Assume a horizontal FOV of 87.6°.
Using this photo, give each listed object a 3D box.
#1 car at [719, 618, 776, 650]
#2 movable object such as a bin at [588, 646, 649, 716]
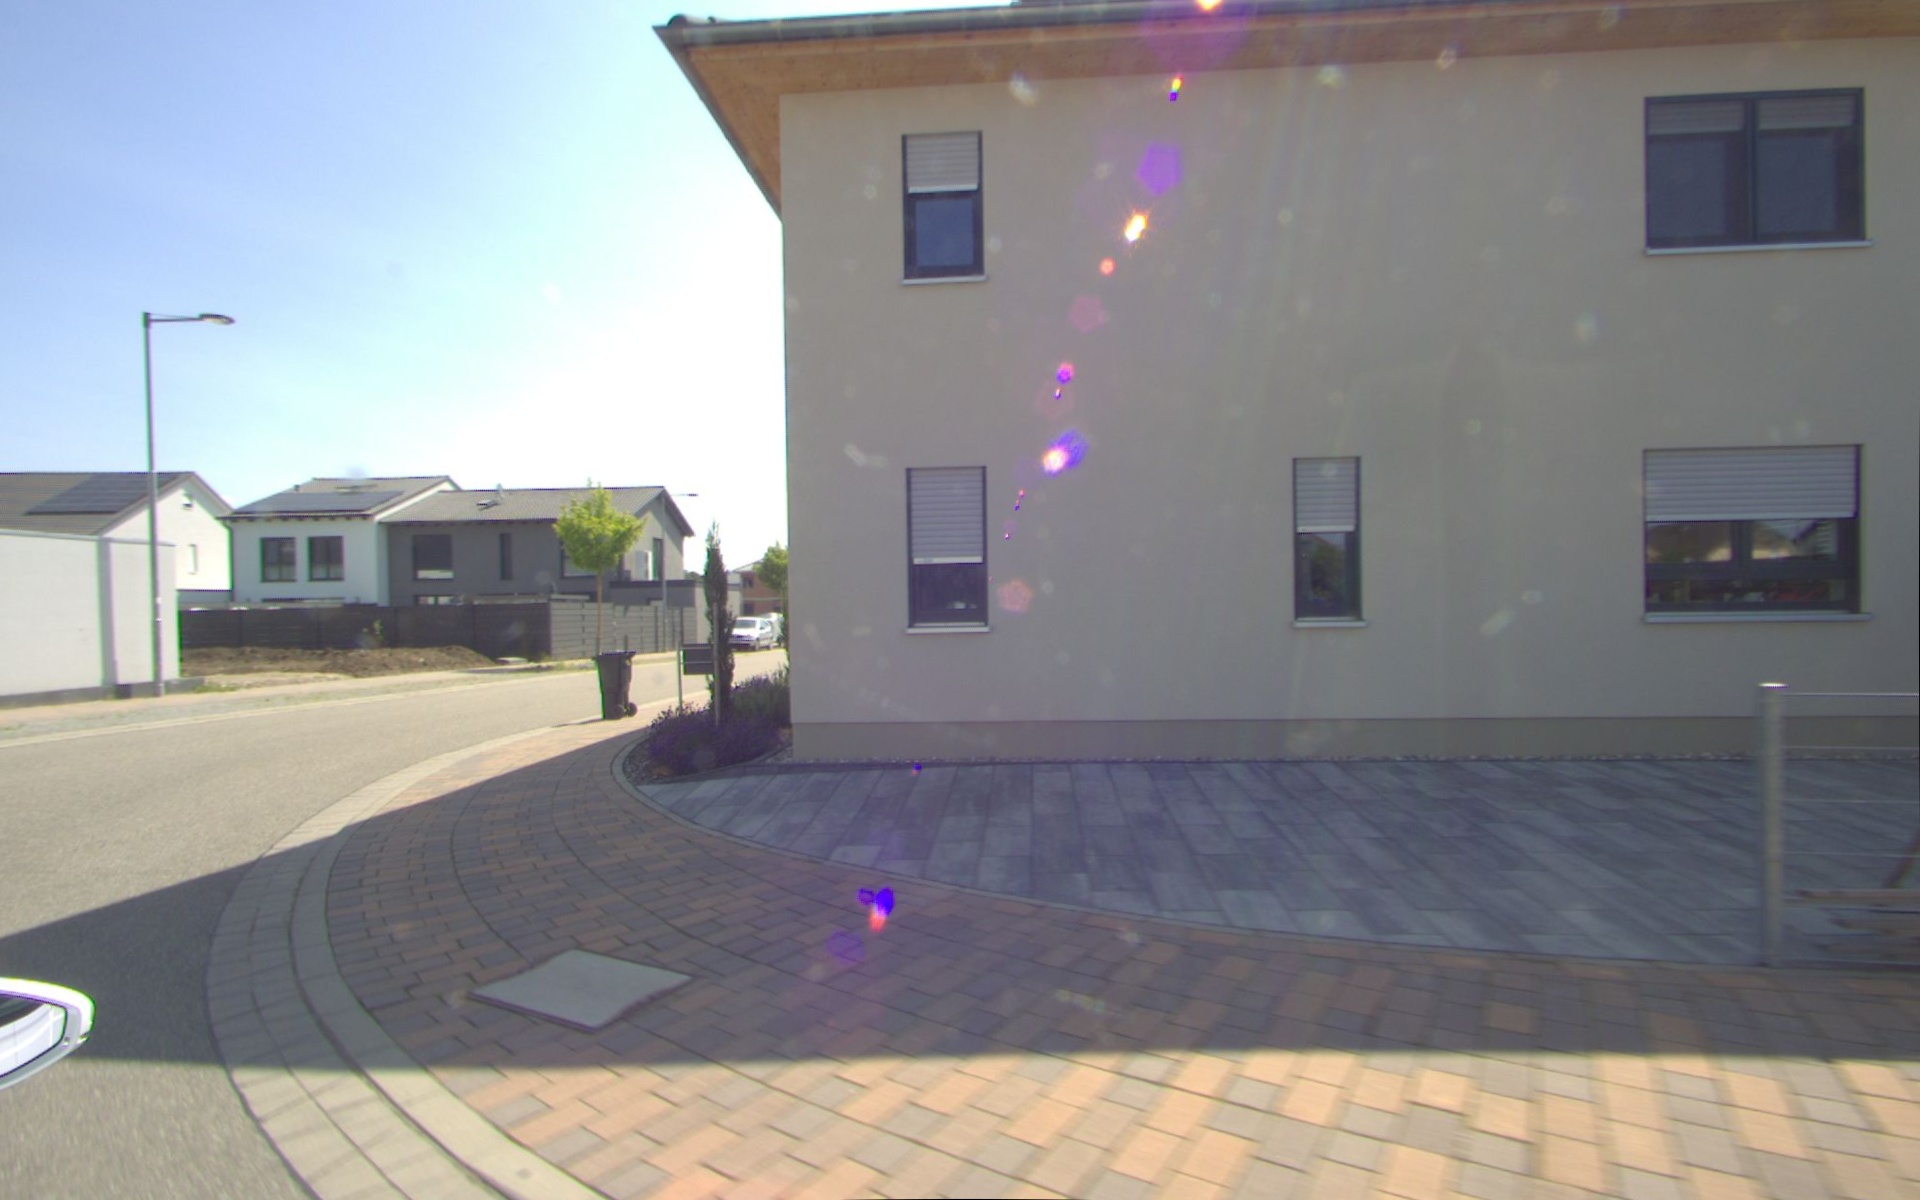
[{"bbox_3d":[-9.320,1.462,44.168,1.565,1.315,3.768,1,-1,3],"label":"car"},{"bbox_3d":[-4.824,1.140,14.164,0.541,0.943,0.648,-1,0,12],"label":"movable object such as a bin"}]
